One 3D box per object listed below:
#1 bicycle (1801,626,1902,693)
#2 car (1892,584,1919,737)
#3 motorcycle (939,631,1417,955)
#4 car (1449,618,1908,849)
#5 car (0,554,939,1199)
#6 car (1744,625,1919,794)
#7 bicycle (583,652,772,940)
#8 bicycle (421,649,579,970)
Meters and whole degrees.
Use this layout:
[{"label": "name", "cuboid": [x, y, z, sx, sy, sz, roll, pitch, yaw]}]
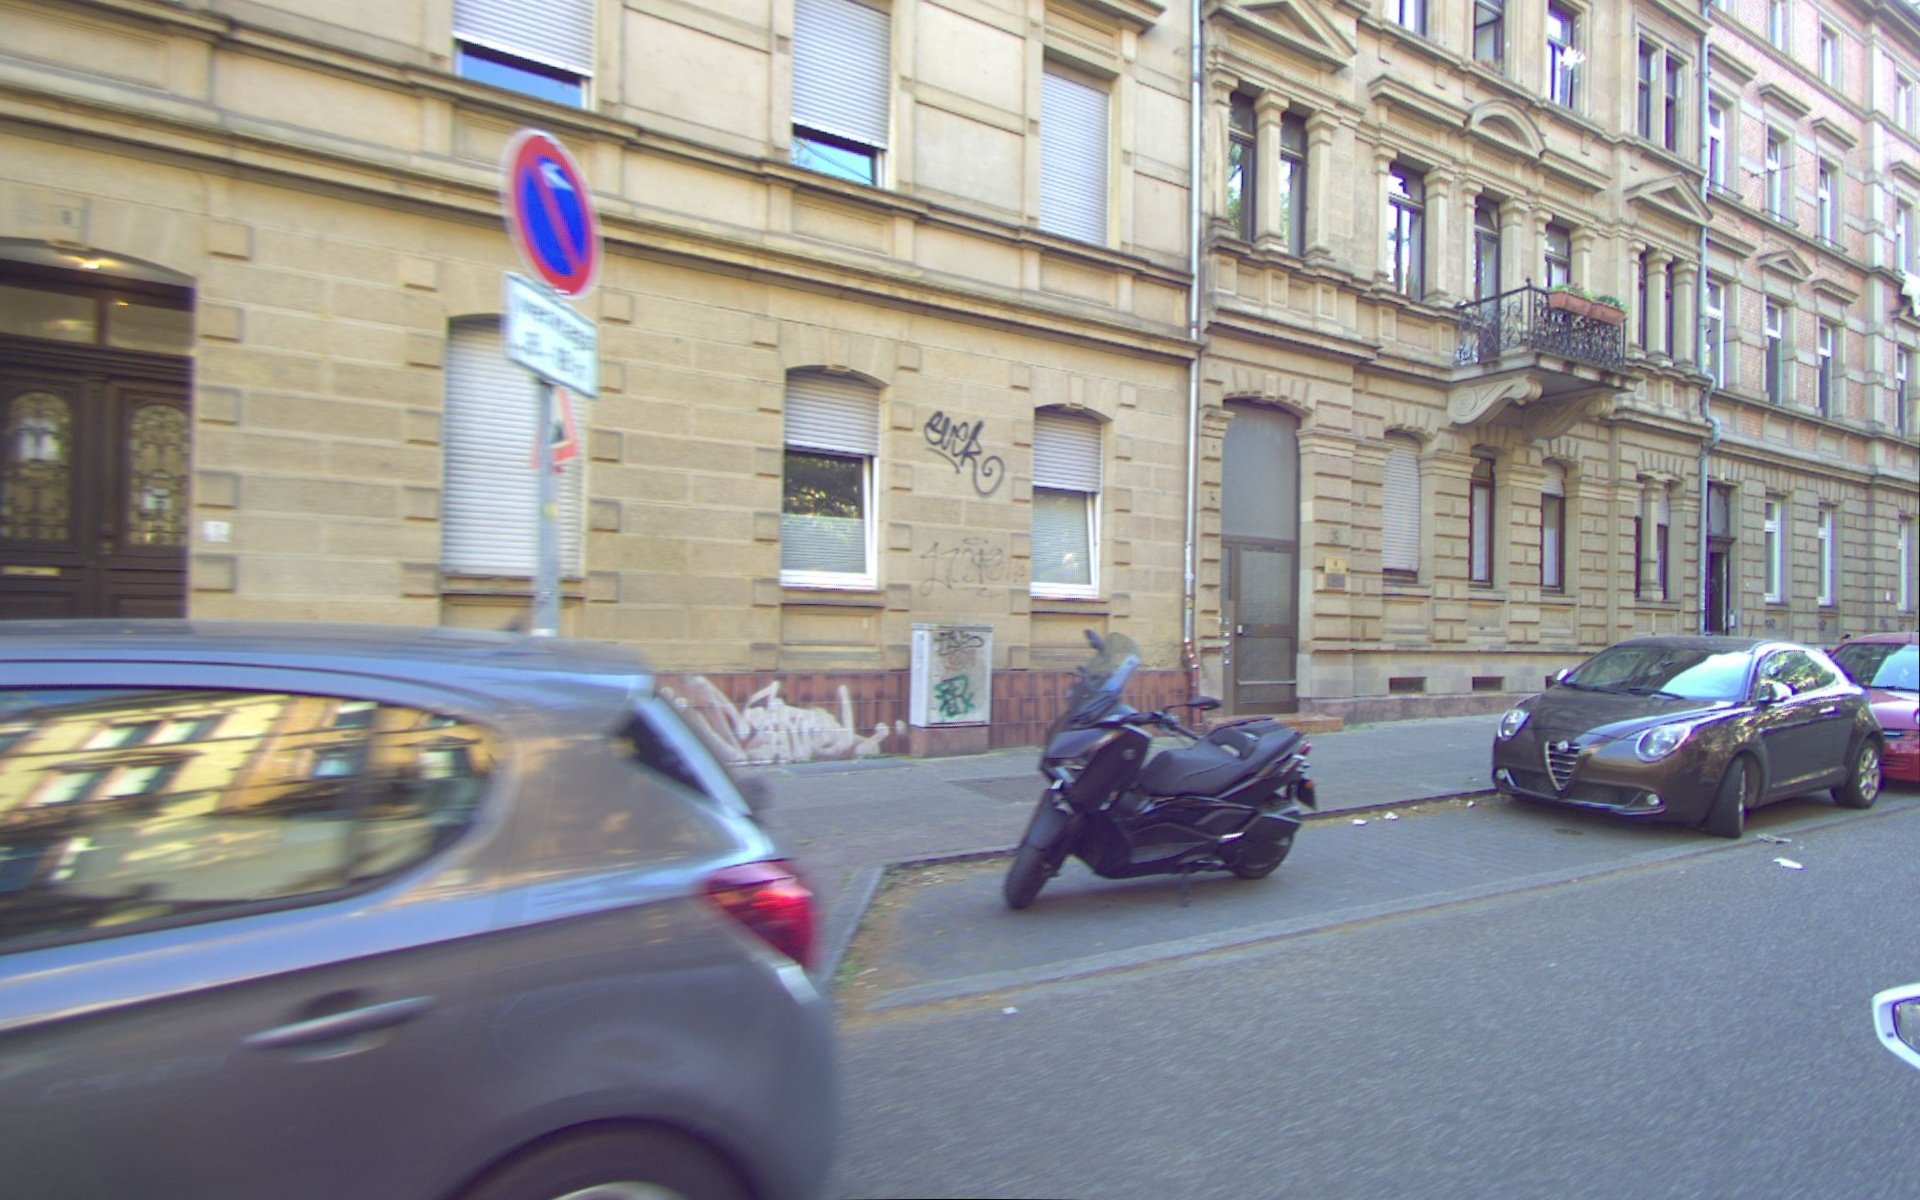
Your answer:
[{"label": "bicycle", "cuboid": [18.101, 1.169, 20.364, 2.794, 1.272, 0.736, 1, 0, -31]}, {"label": "car", "cuboid": [14.904, 0.838, 13.661, 5.198, 1.969, 1.823, 1, 1, -31]}, {"label": "motorcycle", "cuboid": [1.264, 0.885, 5.540, 2.578, 1.388, 1.060, 1, -1, -33]}, {"label": "car", "cuboid": [6.242, 0.963, 8.638, 4.013, 1.521, 1.749, 1, 1, -31]}, {"label": "car", "cuboid": [-2.211, 0.712, 1.825, 4.007, 1.521, 1.752, 1, -2, -27]}, {"label": "car", "cuboid": [10.159, 1.057, 10.637, 3.653, 1.495, 1.586, 1, 1, -28]}, {"label": "bicycle", "cuboid": [-1.560, 0.904, 5.315, 0.522, 1.143, 1.859, 2, 0, -29]}, {"label": "bicycle", "cuboid": [-2.266, 0.858, 4.829, 0.522, 1.143, 1.859, 2, 0, -29]}]
